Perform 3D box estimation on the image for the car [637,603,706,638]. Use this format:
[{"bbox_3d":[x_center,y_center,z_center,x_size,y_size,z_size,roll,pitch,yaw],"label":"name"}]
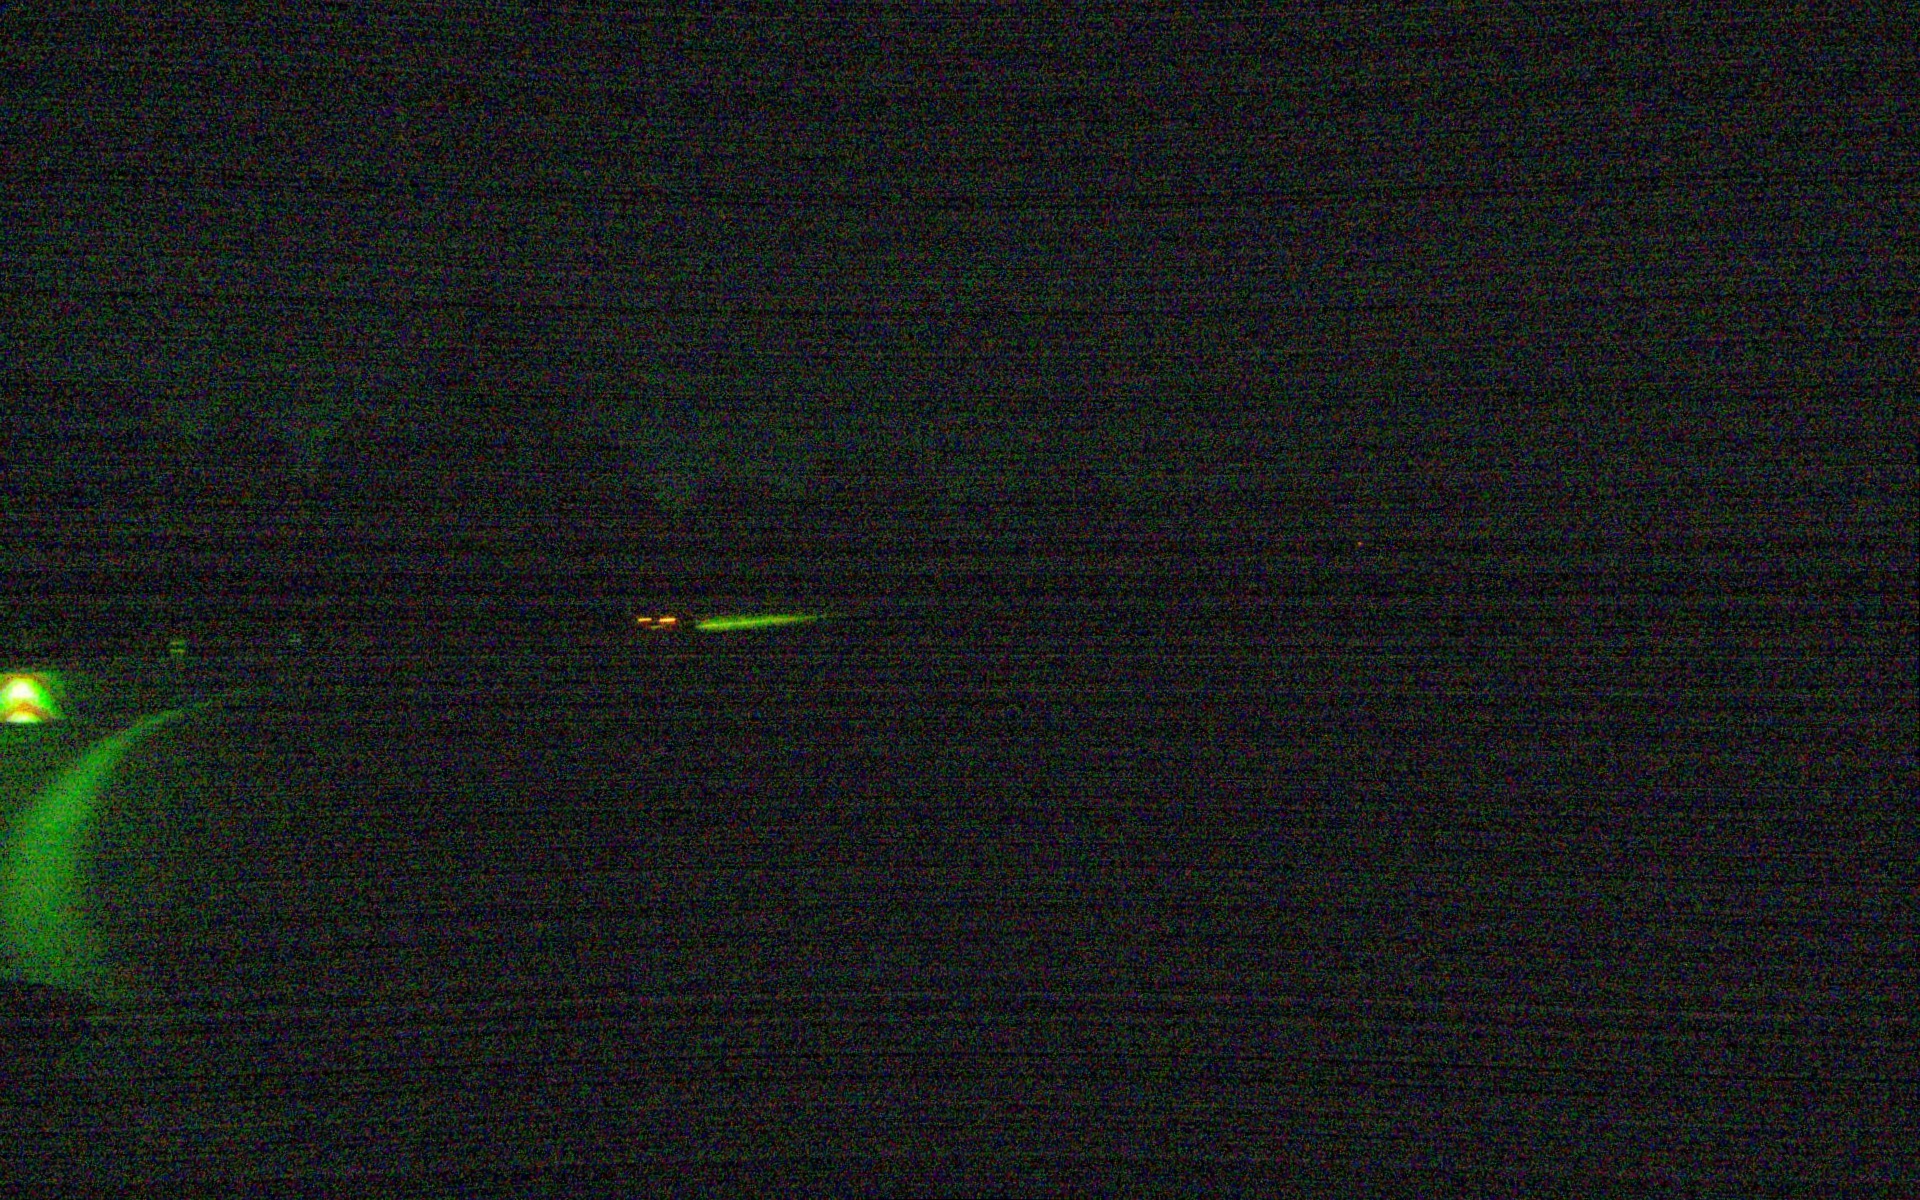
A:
[{"bbox_3d":[-16.091,1.128,56.067,1.902,1.840,4.261,0,0,12],"label":"car"}]
